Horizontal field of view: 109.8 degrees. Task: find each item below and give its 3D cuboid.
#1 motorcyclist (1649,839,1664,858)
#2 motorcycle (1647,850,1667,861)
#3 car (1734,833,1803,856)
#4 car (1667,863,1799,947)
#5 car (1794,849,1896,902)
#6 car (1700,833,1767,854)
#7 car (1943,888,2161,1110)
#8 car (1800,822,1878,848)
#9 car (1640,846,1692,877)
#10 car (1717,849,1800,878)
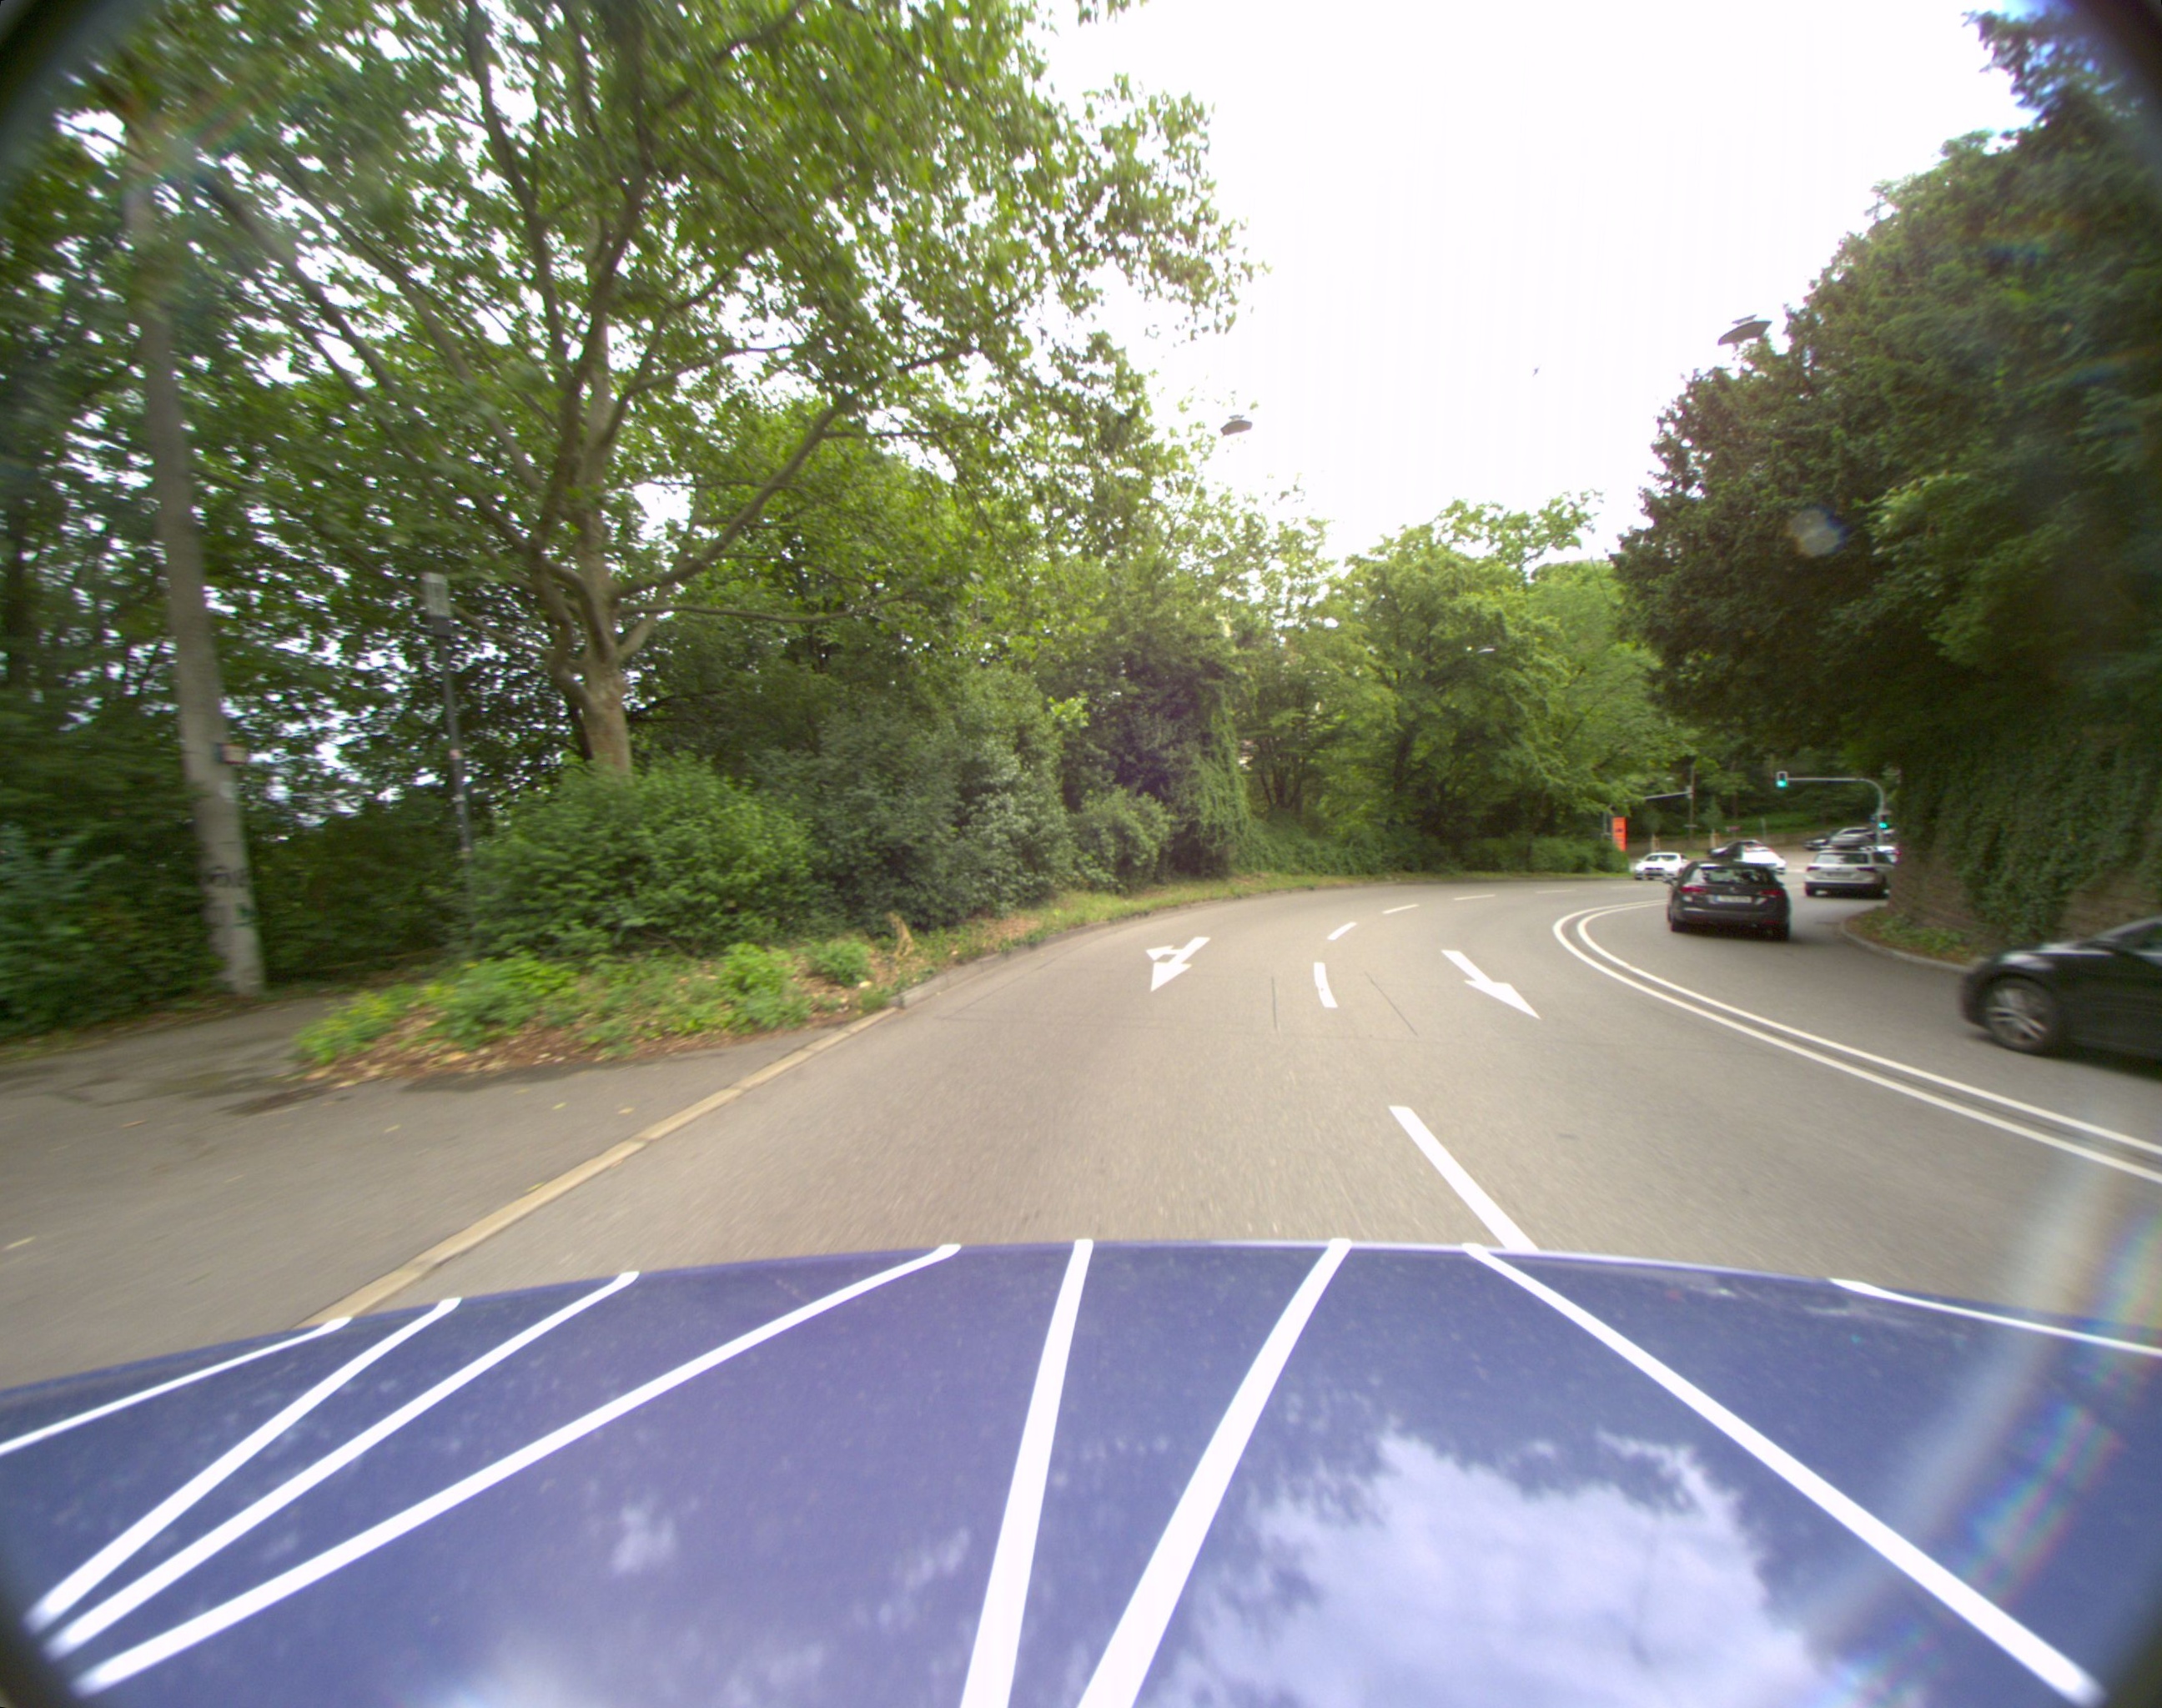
[{"bbox_3d":[49.325,-0.475,65.137,0.747,1.520,1.096,0,2,22],"label":"motorcyclist"},{"bbox_3d":[49.293,0.086,65.047,0.809,0.884,2.433,0,1,22],"label":"motorcycle"},{"bbox_3d":[51.039,-0.729,56.529,1.852,1.639,4.515,0,1,14],"label":"car"},{"bbox_3d":[13.438,0.938,15.888,1.658,1.432,4.304,1,1,35],"label":"car"},{"bbox_3d":[26.296,0.667,26.114,4.395,1.643,1.770,0,2,-36],"label":"car"},{"bbox_3d":[56.609,-0.897,66.010,3.992,1.350,1.756,-6,0,19],"label":"car"},{"bbox_3d":[8.062,0.978,4.427,1.805,1.434,4.003,-1,-1,7],"label":"car"},{"bbox_3d":[64.152,-1.590,64.365,4.538,1.675,1.808,-6,1,5],"label":"car"},{"bbox_3d":[30.773,0.348,39.944,1.912,1.543,4.535,1,2,40],"label":"car"},{"bbox_3d":[39.421,0.508,44.350,1.913,1.470,4.532,2,1,19],"label":"car"}]
